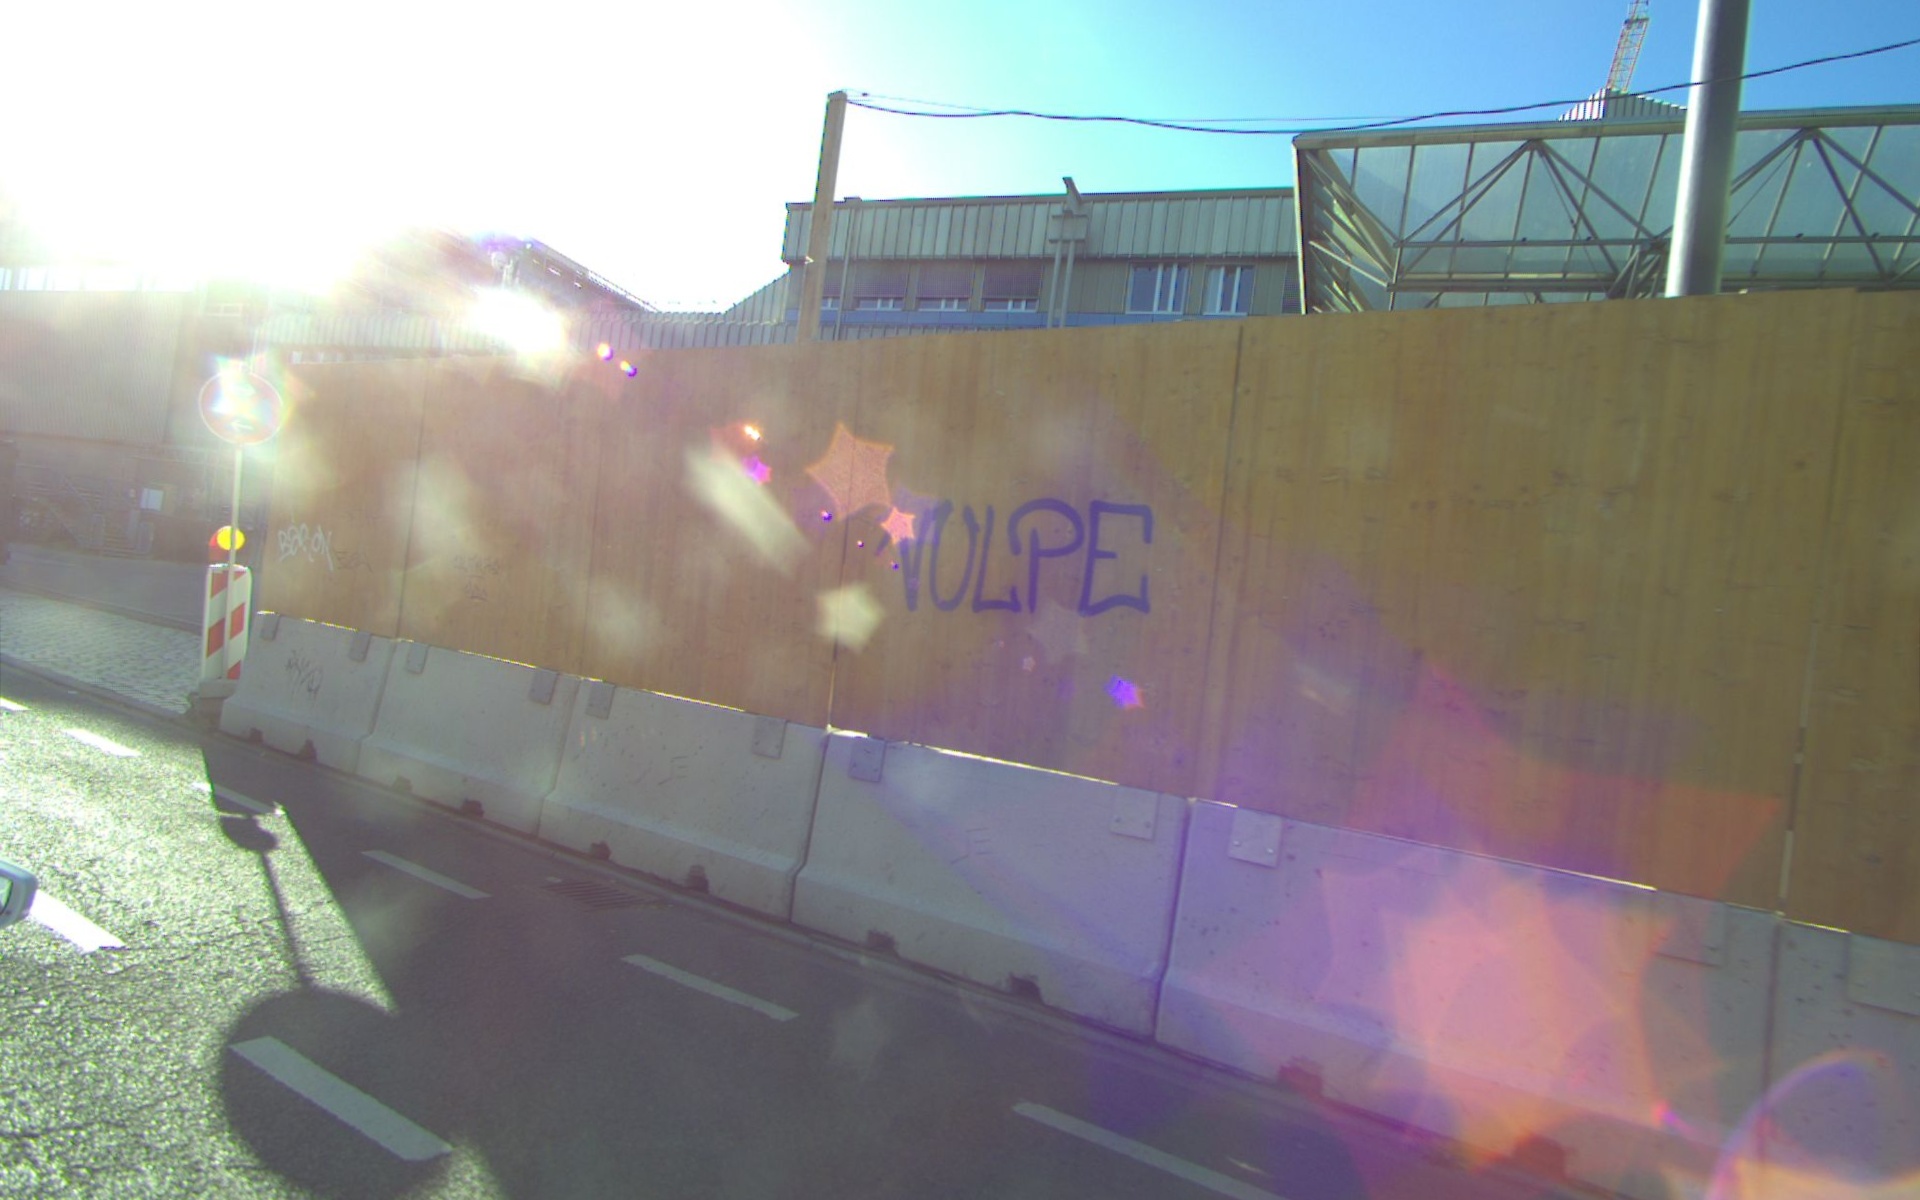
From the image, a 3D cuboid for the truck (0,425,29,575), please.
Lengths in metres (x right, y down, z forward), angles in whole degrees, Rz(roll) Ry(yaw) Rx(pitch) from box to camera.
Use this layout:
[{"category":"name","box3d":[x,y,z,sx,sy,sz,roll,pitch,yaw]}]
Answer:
[{"category":"truck","box3d":[-21.950,-2.308,20.761,5.416,2.946,2.521,7,1,32]}]
